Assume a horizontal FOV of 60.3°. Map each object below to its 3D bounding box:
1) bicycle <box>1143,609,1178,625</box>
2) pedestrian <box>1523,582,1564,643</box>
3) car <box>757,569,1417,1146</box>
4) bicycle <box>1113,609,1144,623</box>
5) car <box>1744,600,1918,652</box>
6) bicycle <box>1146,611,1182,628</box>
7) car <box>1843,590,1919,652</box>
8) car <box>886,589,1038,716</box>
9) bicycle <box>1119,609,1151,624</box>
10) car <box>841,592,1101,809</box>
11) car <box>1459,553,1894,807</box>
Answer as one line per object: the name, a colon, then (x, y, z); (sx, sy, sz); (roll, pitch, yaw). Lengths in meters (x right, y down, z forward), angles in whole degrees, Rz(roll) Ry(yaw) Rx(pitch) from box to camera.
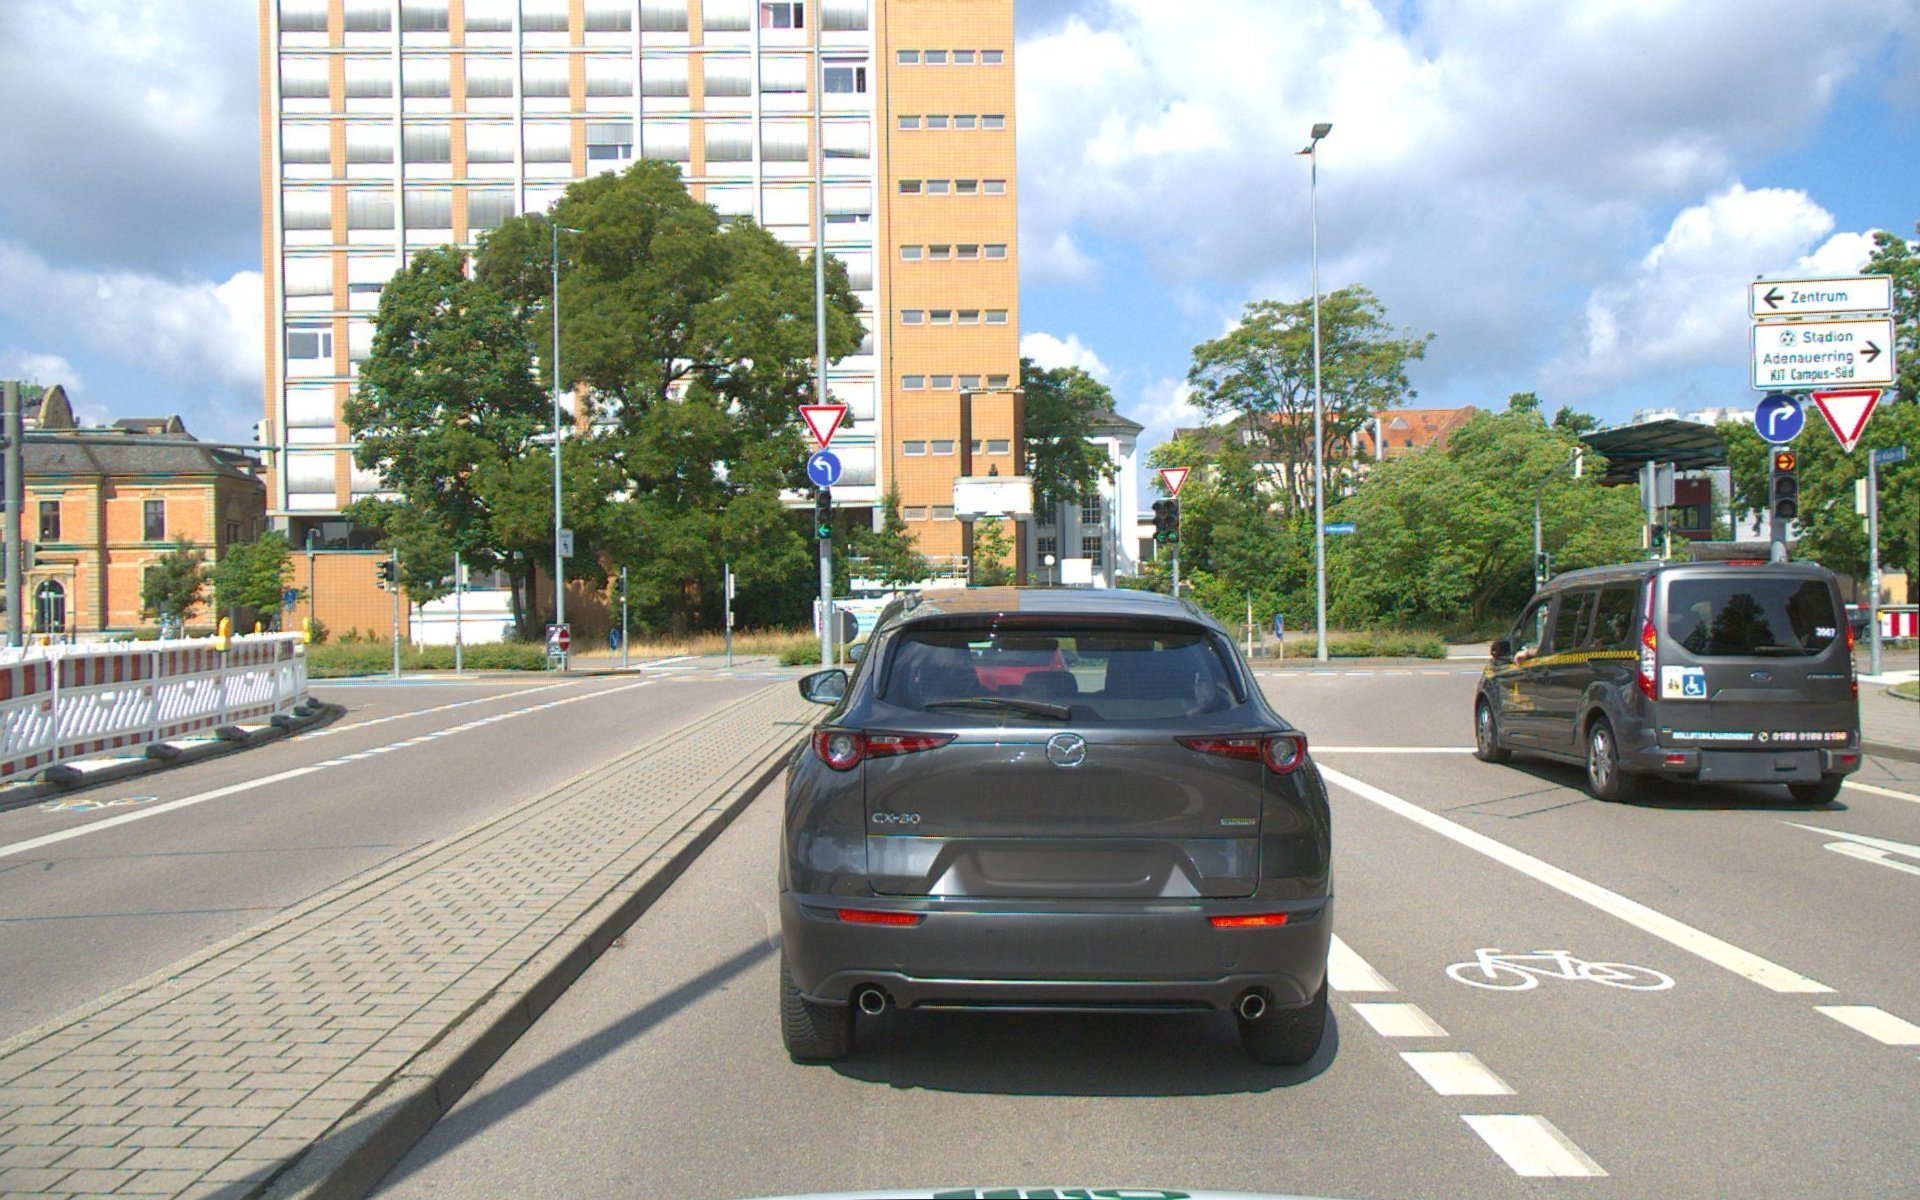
bicycle: (12.420, 1.060, 102.525); (2.013, 0.953, 0.804); (-1, -1, -2)
pedestrian: (18.530, 0.399, 52.518); (0.684, 1.889, 1.177); (-1, 0, -11)
car: (0.320, 0.706, 6.611); (1.769, 1.534, 4.204); (1, 0, -1)
bicycle: (11.781, 1.105, 115.572); (2.013, 0.953, 0.804); (-1, -1, -2)
car: (25.663, 0.752, 48.820); (4.061, 1.401, 2.000); (-1, 0, 1)
bicycle: (12.132, 1.136, 98.525); (2.013, 0.953, 0.804); (-1, -1, -2)
car: (25.190, 0.506, 41.713); (4.664, 1.467, 2.063); (-1, -3, 4)
car: (0.037, 0.650, 22.252); (1.810, 1.498, 4.335); (-1, 0, 0)
bicycle: (11.736, 1.085, 110.712); (2.013, 0.953, 0.804); (-1, -1, -2)
car: (0.112, 0.692, 13.501); (1.779, 1.464, 4.068); (1, 0, 1)
car: (5.835, 0.570, 14.179); (1.810, 1.816, 4.672); (0, 0, 1)
